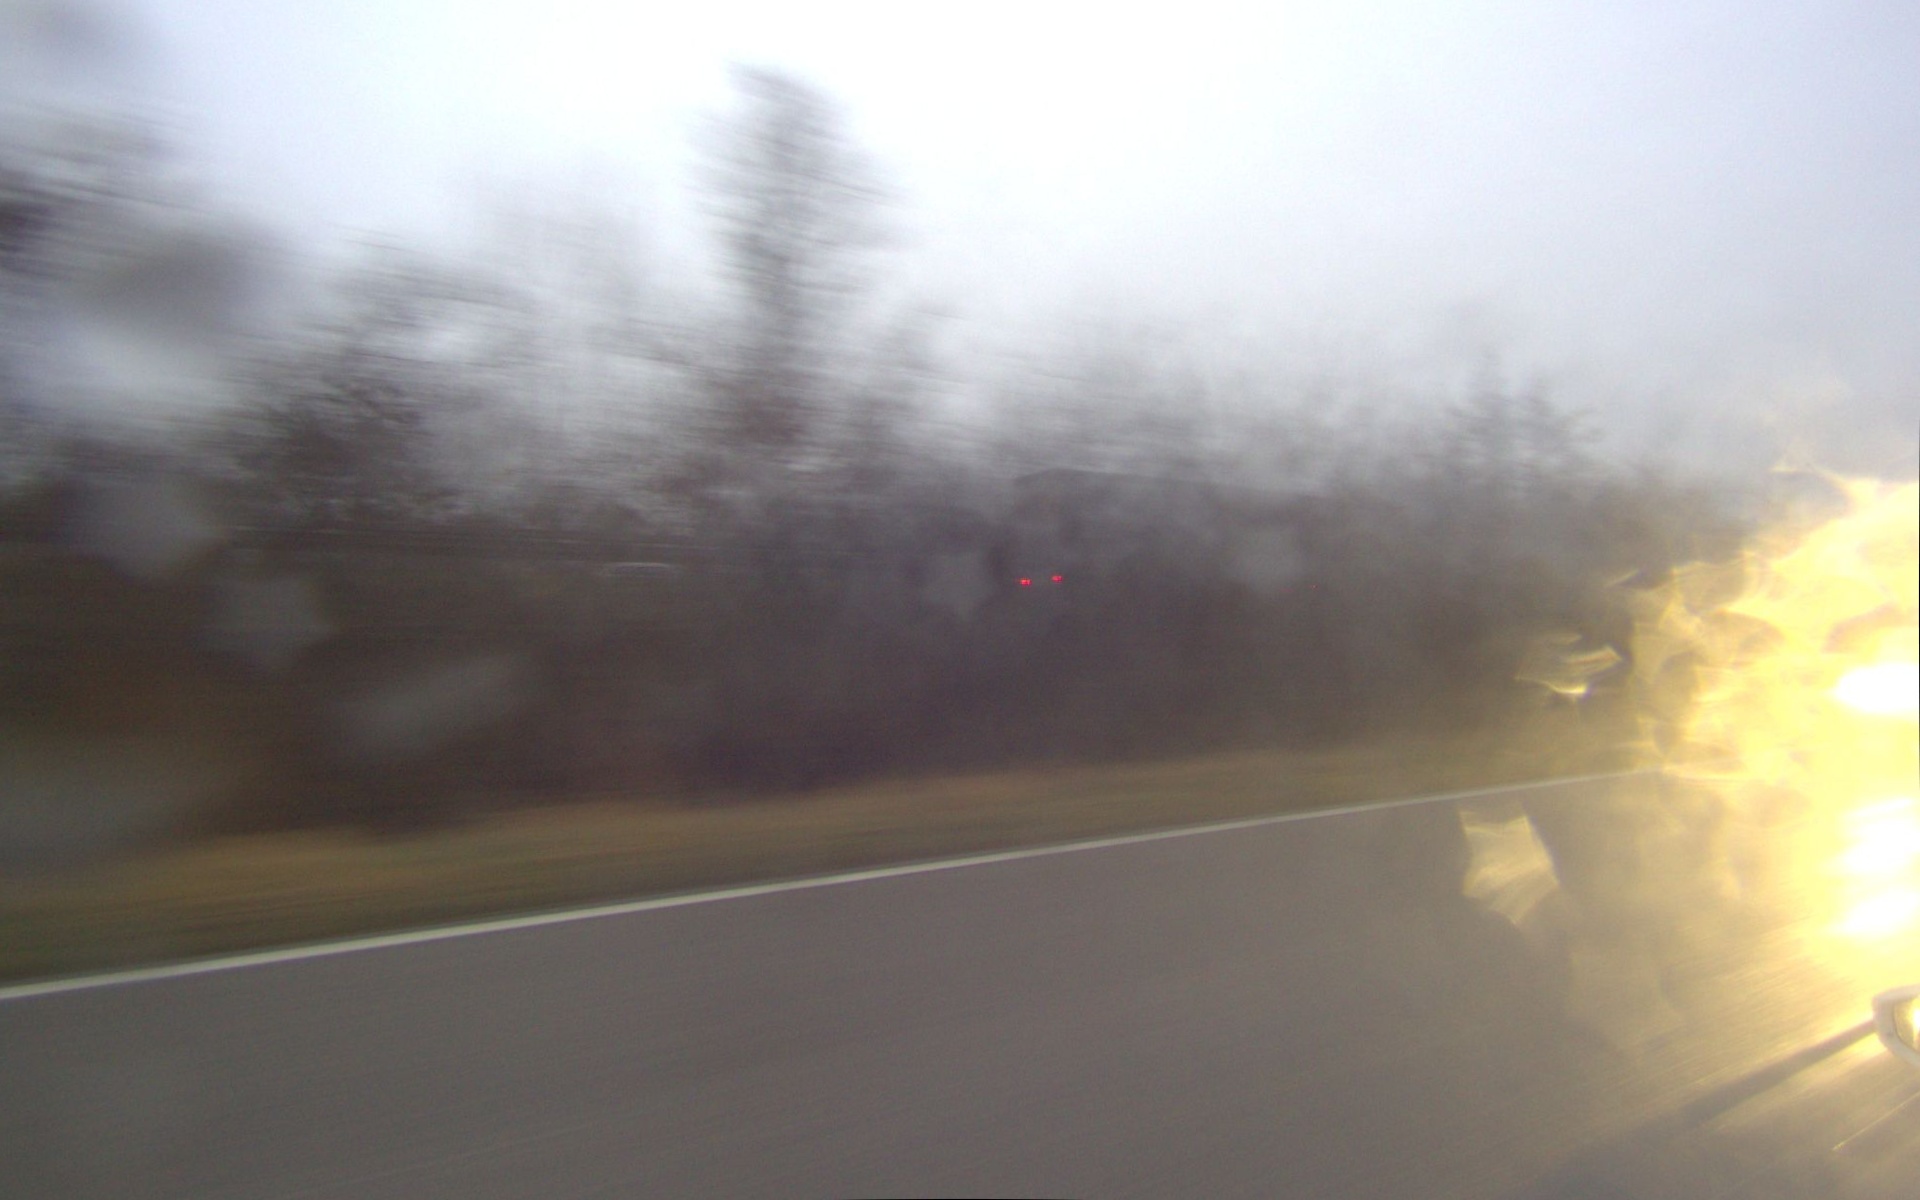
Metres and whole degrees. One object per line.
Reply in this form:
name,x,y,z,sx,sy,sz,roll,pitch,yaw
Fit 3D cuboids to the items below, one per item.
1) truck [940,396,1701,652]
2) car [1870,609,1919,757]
truck,18.294,-1.864,43.957,39.673,7.815,7.508,2,0,-30
car,12.461,0.943,11.597,4.115,1.612,1.760,1,0,-31
